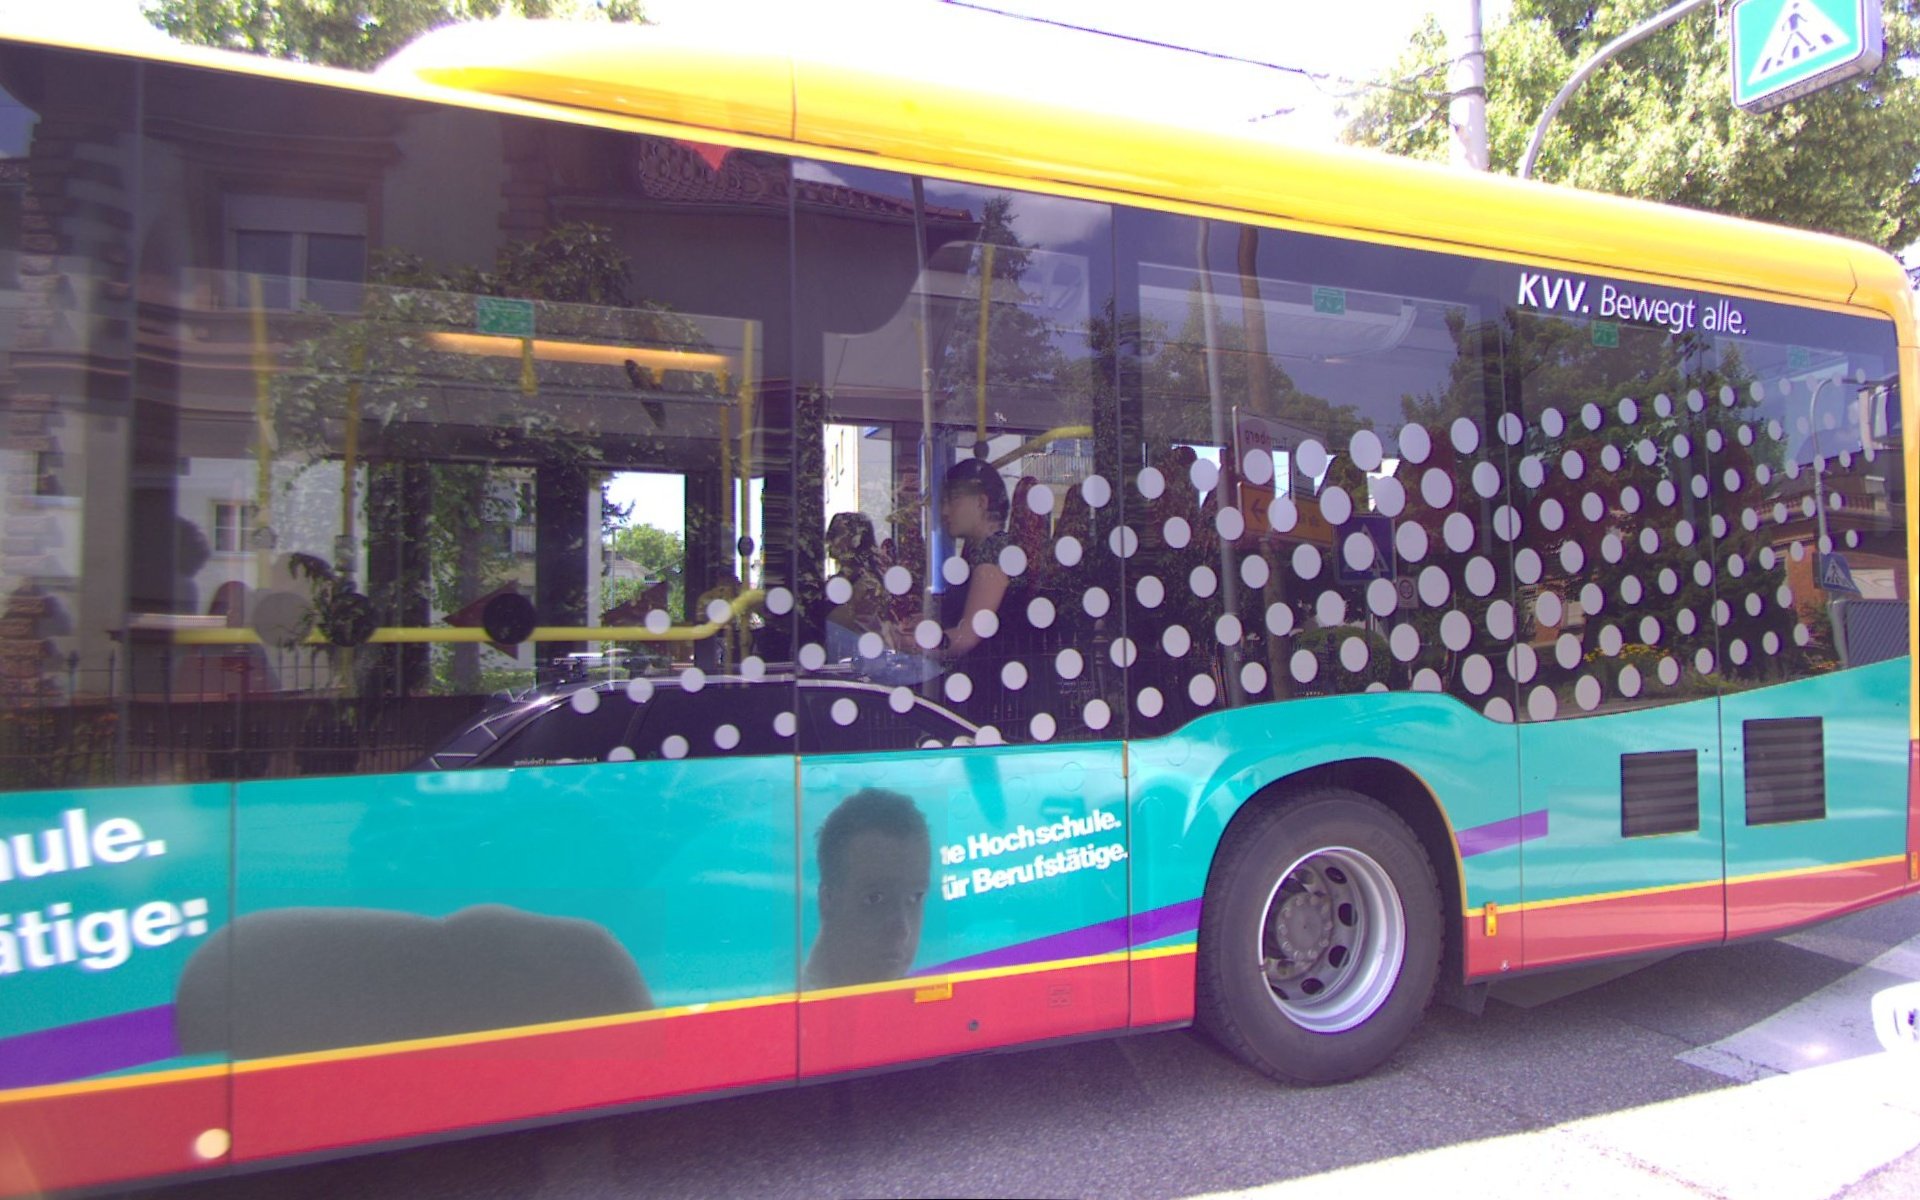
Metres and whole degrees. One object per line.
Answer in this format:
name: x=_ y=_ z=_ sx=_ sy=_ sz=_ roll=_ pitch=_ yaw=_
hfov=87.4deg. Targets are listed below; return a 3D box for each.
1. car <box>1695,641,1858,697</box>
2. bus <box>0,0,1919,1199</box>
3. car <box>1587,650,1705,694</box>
car: x=24.844 y=2.060 z=30.748 sx=1.629 sy=1.485 sz=3.908 roll=-4 pitch=-2 yaw=-2
bus: x=-1.785 y=-0.158 z=3.512 sx=12.114 sy=3.251 sz=2.777 roll=1 pitch=-1 yaw=-19
car: x=24.259 y=2.522 z=35.670 sx=1.396 sy=1.375 sz=3.500 roll=-4 pitch=-2 yaw=-8
